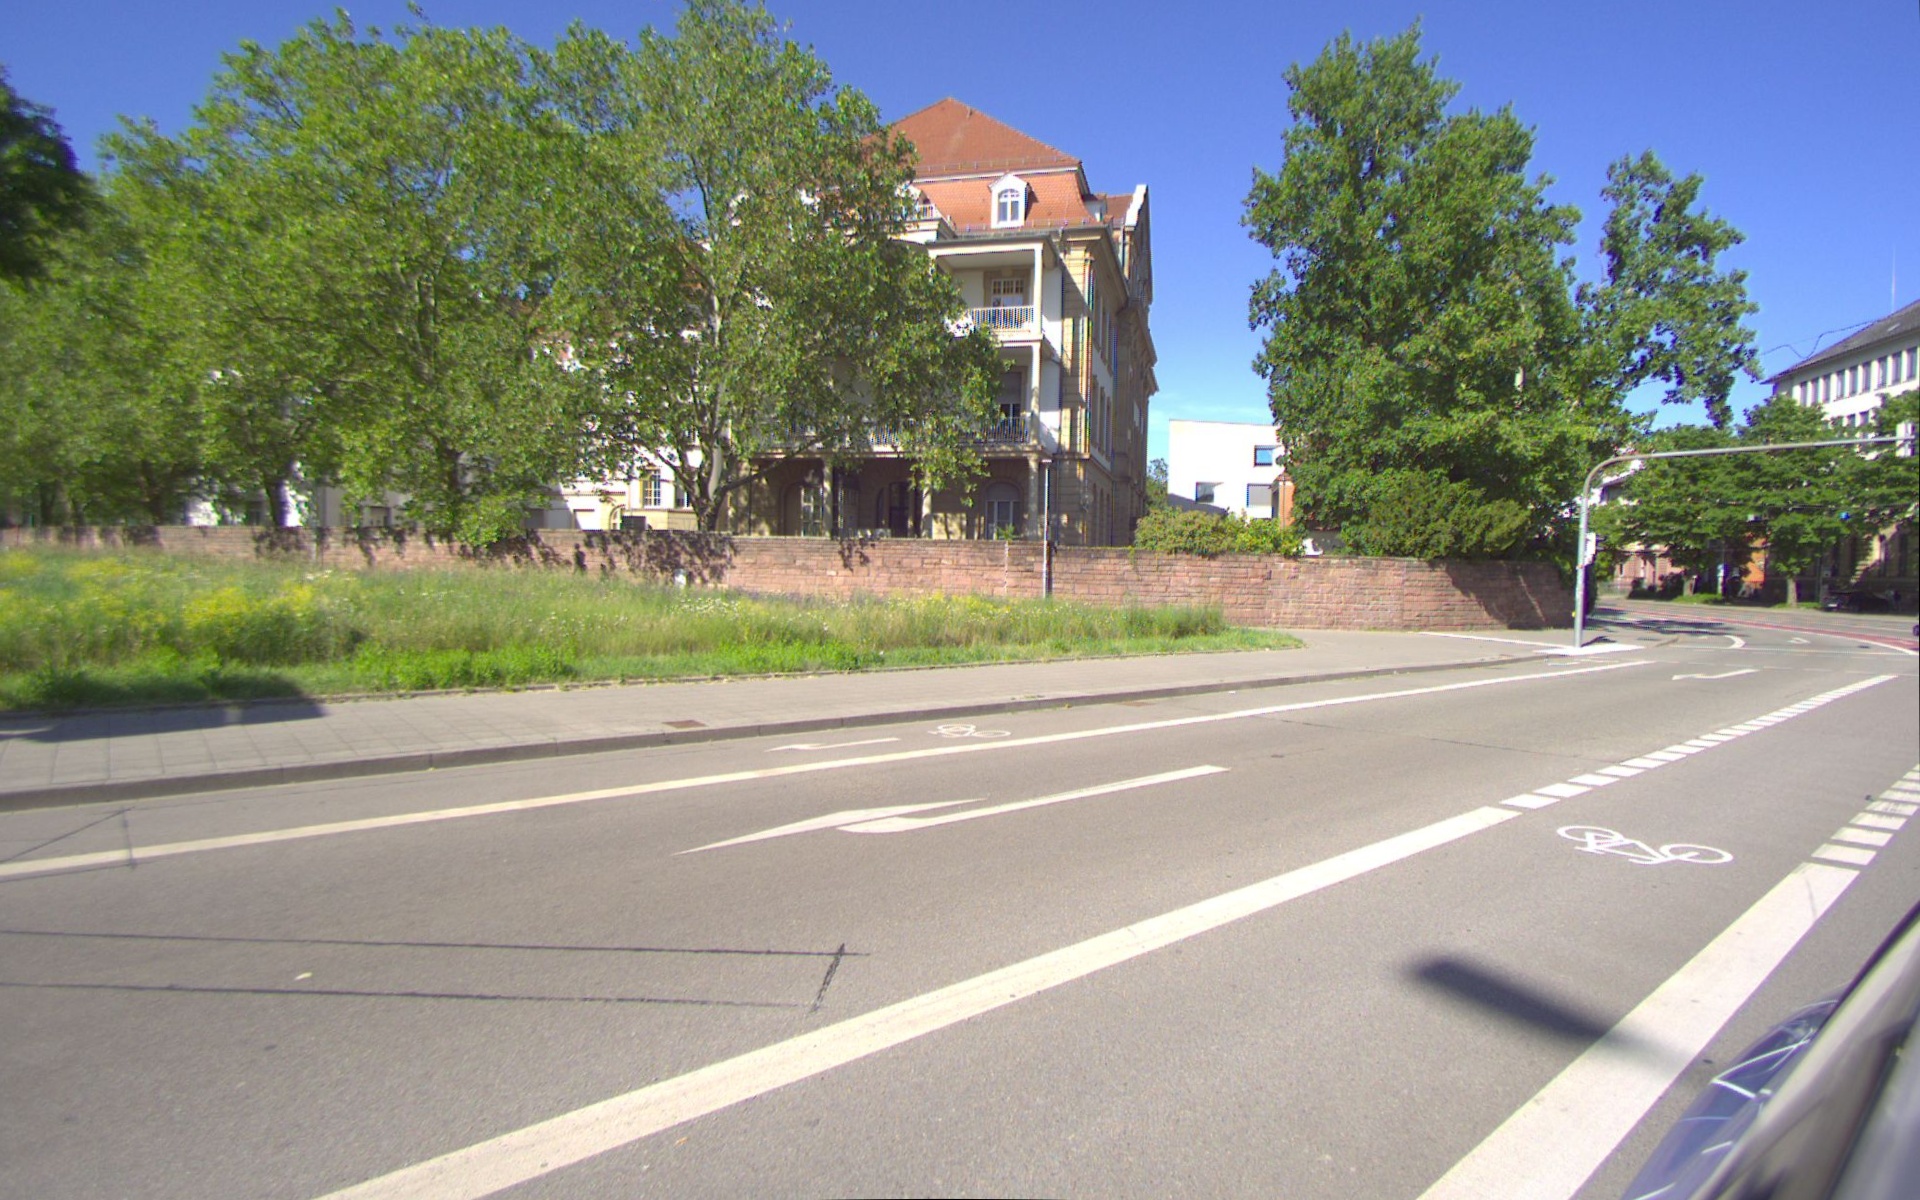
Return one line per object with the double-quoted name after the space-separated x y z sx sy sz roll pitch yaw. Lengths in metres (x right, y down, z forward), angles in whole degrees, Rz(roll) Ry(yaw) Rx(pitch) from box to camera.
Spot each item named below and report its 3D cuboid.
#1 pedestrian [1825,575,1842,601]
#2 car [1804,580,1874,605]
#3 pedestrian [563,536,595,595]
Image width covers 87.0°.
64.636 -0.912 74.882 0.568 1.927 0.781 1 1 12 "pedestrian"
60.001 -0.531 69.193 1.806 1.615 3.988 2 2 11 "car"
-12.411 -1.130 32.968 0.778 1.881 0.626 2 1 23 "pedestrian"
